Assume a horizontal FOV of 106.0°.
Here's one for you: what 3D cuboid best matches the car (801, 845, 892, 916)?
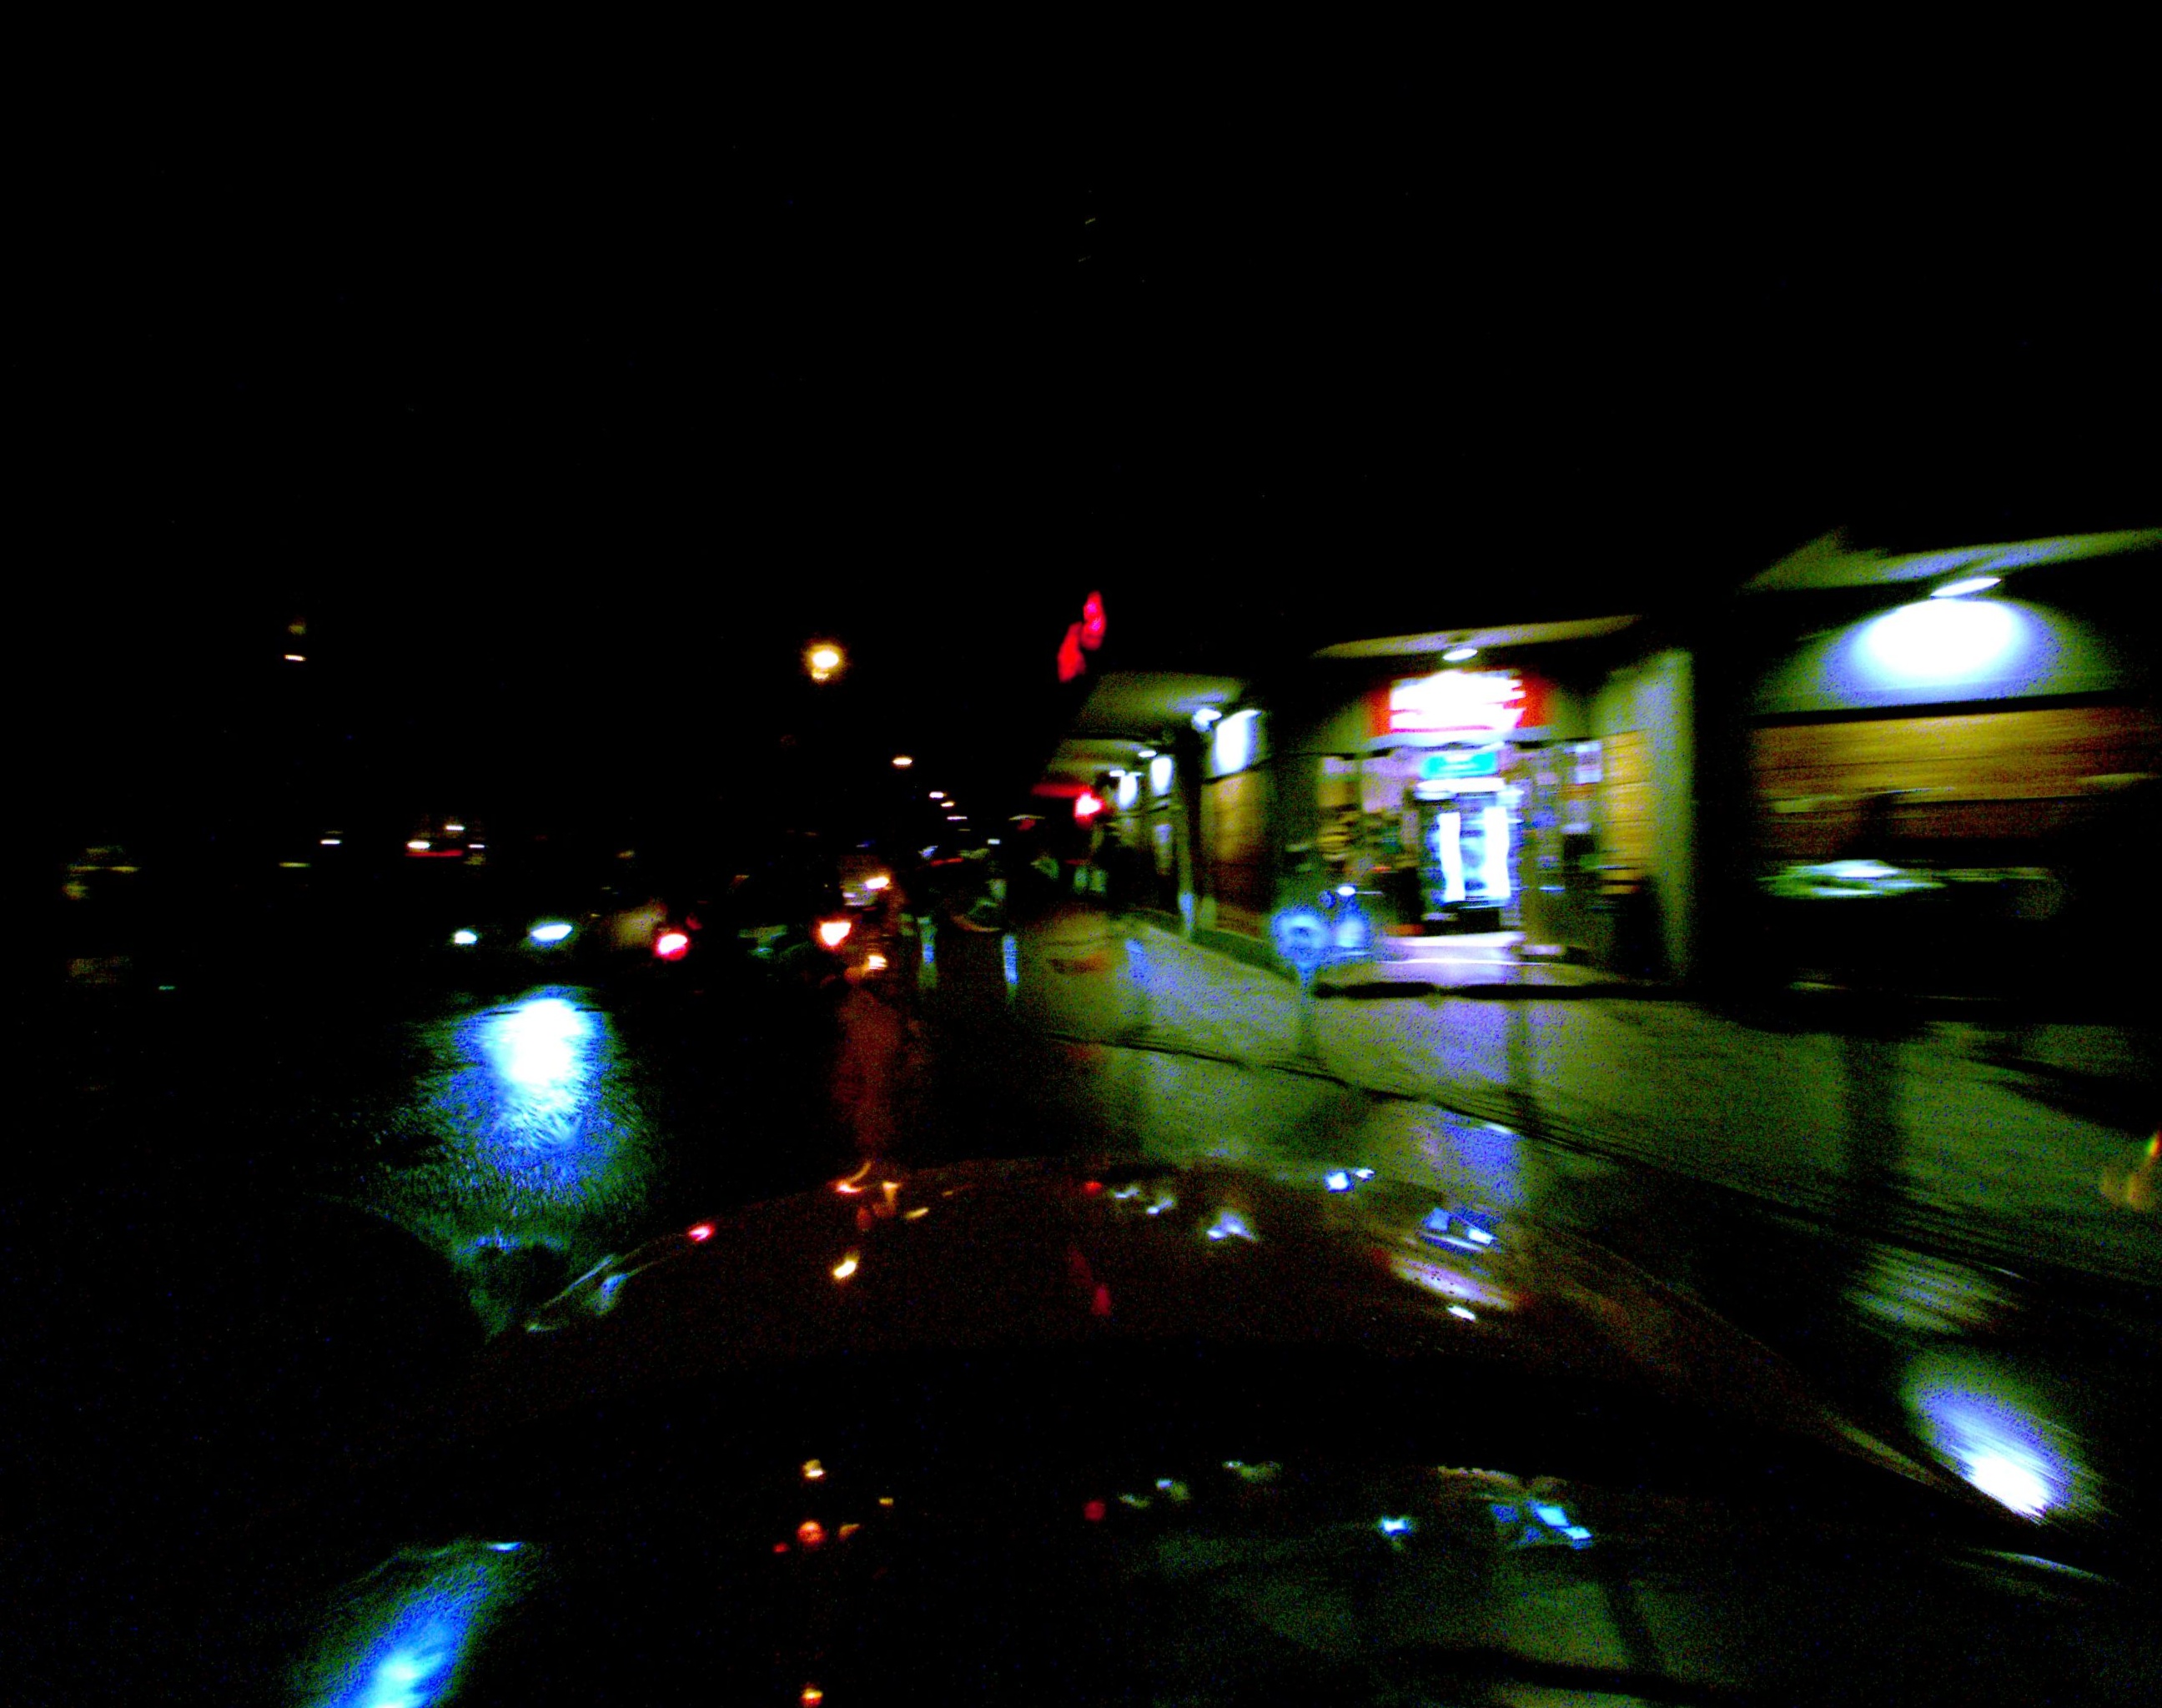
[{"bbox_3d":[-6.989,0.714,24.739,2.123,1.922,4.809,0,0,-10],"label":"car"}]

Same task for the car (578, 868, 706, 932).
[{"bbox_3d":[-11.621,1.162,21.881,1.584,1.463,4.015,2,0,-6],"label":"car"}]

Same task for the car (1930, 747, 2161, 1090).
[{"bbox_3d":[5.899,0.337,4.791,0.953,1.841,0.881,-1,1,20],"label":"car"}]

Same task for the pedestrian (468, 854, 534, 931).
[{"bbox_3d":[-13.794,0.898,19.397,0.801,1.766,1.015,0,-1,-1],"label":"pedestrian"}]

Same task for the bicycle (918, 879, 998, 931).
[{"bbox_3d":[-2.801,1.158,18.585,1.761,1.079,0.434,-2,0,-9],"label":"bicycle"}]

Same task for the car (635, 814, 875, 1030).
[{"bbox_3d":[-3.828,0.626,10.044,2.129,1.991,4.571,-1,0,-19],"label":"car"}]

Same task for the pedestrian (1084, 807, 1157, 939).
[{"bbox_3d":[0.680,0.328,14.434,1.053,2.208,0.967,-3,-1,-7],"label":"pedestrian"}]

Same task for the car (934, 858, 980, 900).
[{"bbox_3d":[-5.083,1.001,33.488,1.752,1.608,3.978,0,-1,-8],"label":"car"}]

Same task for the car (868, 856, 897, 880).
[{"bbox_3d":[-17.002,1.220,69.948,1.992,2.014,3.990,0,-1,-7],"label":"car"}]

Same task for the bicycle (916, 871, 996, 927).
[{"bbox_3d":[-2.940,1.056,19.220,1.762,1.124,0.434,-5,1,-9],"label":"bicycle"}]

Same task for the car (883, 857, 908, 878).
[{"bbox_3d":[-18.462,1.371,81.232,1.992,2.014,3.990,0,-1,-7],"label":"car"}]

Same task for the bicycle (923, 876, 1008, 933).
[{"bbox_3d":[-2.503,1.093,17.749,1.782,1.125,0.434,-2,0,-9],"label":"bicycle"}]

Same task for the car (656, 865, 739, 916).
[{"bbox_3d":[-12.258,1.125,26.211,1.584,1.510,2.781,-1,0,-6],"label":"car"}]

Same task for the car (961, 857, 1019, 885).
[{"bbox_3d":[-7.000,1.318,62.826,4.005,2.014,1.984,-2,-2,-24],"label":"car"}]

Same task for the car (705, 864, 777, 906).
[{"bbox_3d":[-12.758,1.118,30.759,1.584,1.449,3.495,-1,0,-6],"label":"car"}]

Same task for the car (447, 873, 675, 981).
[{"bbox_3d":[-8.695,1.121,14.070,1.561,1.427,4.061,-3,0,-5],"label":"car"}]

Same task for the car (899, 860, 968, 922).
[{"bbox_3d":[-4.098,0.987,23.111,1.752,1.566,4.142,0,-1,-8],"label":"car"}]
